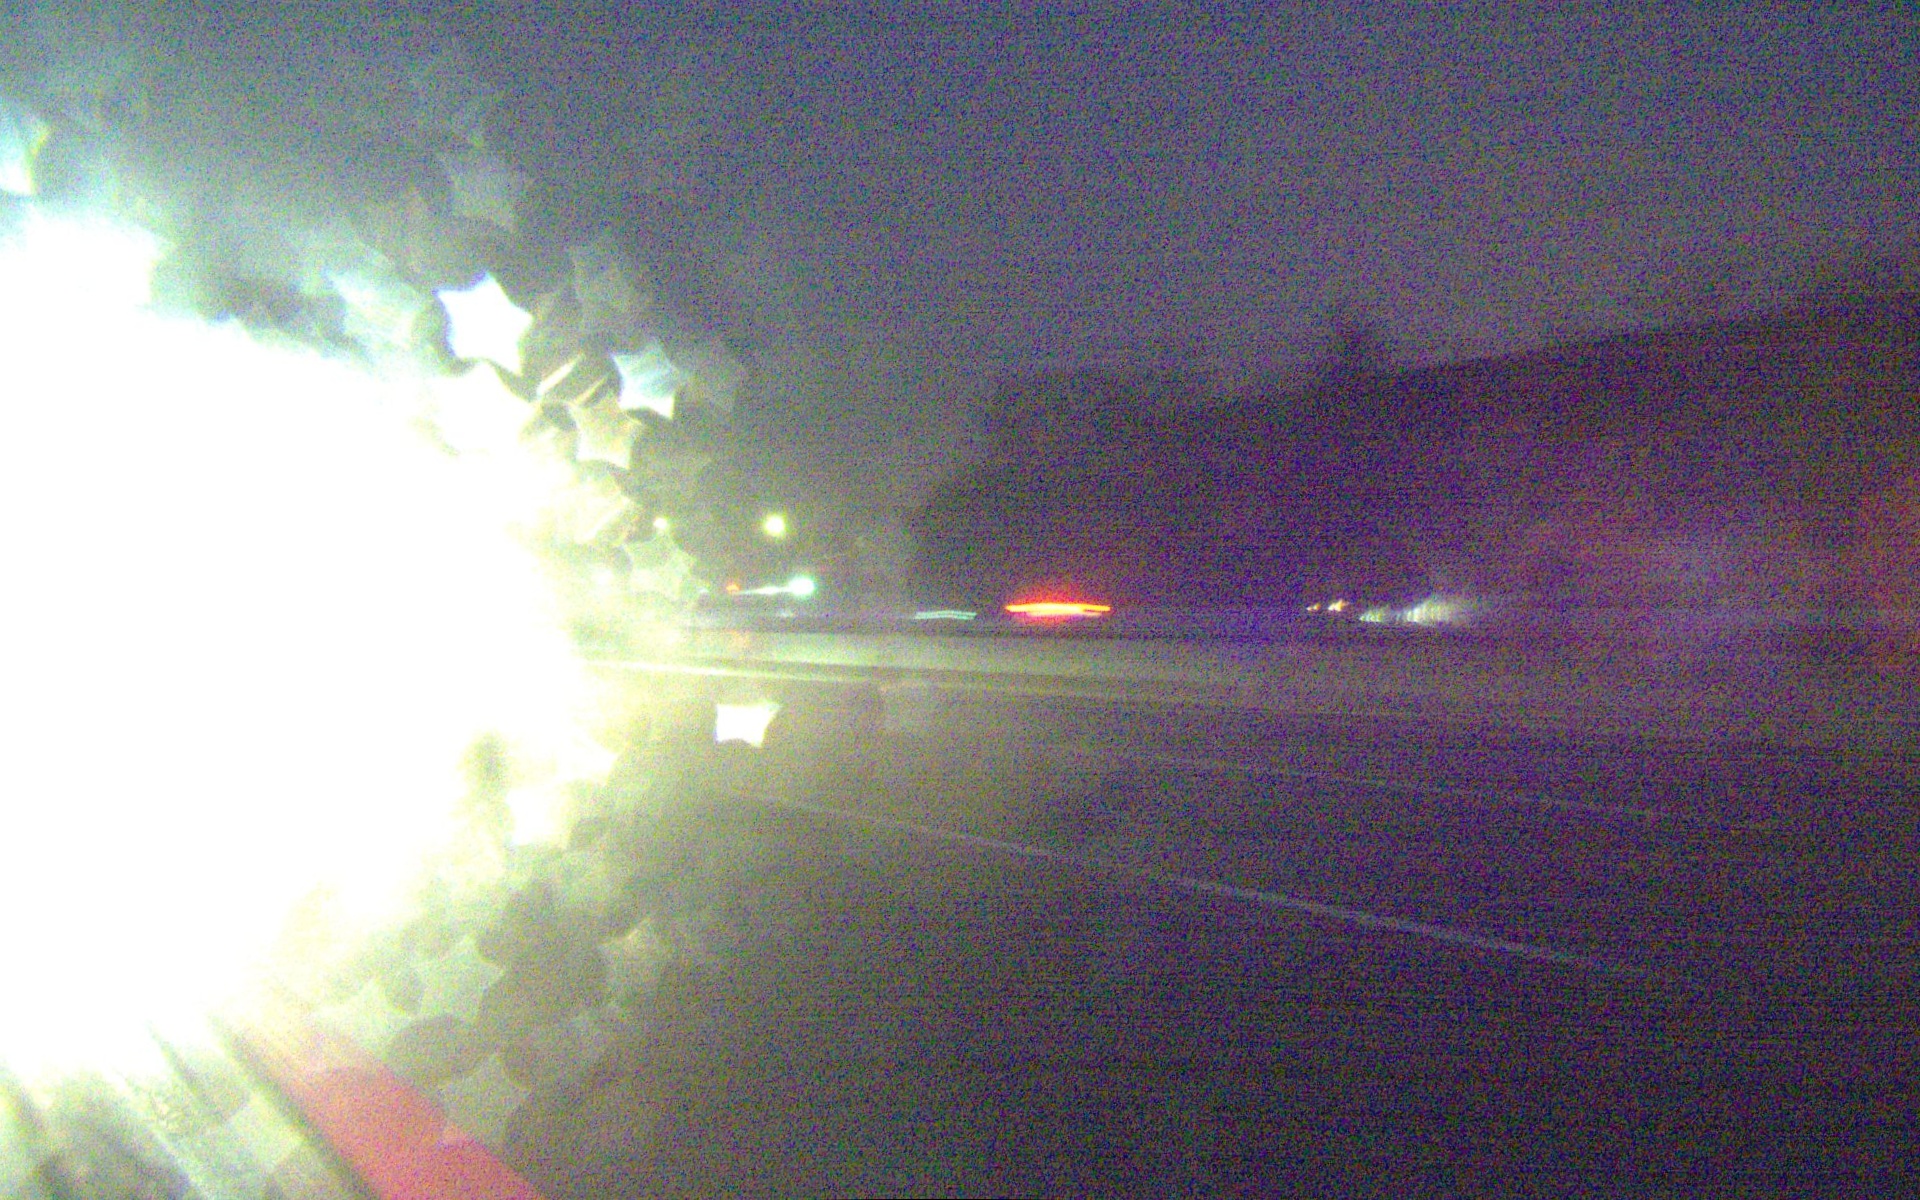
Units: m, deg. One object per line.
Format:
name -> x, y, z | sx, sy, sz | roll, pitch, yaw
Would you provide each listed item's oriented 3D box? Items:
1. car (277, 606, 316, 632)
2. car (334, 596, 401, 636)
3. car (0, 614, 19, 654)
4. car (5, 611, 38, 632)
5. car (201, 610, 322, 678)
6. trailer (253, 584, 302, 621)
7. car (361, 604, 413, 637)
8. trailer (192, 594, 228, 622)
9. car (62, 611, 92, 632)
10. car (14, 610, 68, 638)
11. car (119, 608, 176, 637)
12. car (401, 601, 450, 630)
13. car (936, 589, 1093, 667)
car -> -56.662, 1.606, 86.369 | 1.971, 2.028, 4.003 | -4, 3, -44
car -> -33.536, 0.872, 57.201 | 4.567, 2.028, 1.972 | 0, 3, 43
car -> -41.187, 1.421, 42.529 | 3.996, 1.608, 1.897 | -1, 1, 40
car -> -88.375, 1.970, 95.249 | 4.000, 1.807, 1.904 | -1, 3, 43
car -> -18.219, 1.079, 26.332 | 3.999, 1.608, 1.704 | -1, 1, 42
trailer -> -75.340, 0.218, 111.533 | 2.620, 3.758, 13.963 | -4, 3, -41
car -> -38.995, 1.348, 68.844 | 4.001, 2.028, 1.972 | 0, 3, 44
trailer -> -117.140, 1.139, 157.935 | 2.738, 4.058, 14.028 | -4, 3, -43
car -> -86.284, 2.083, 98.893 | 1.903, 1.807, 4.002 | -4, 3, -45
car -> -56.534, 1.481, 62.228 | 3.996, 1.608, 1.897 | -1, 1, 40
car -> -48.627, 1.340, 60.563 | 3.996, 1.608, 1.897 | -1, 1, 40
car -> -39.812, 1.150, 75.394 | 4.000, 1.996, 1.972 | -1, 3, 43
car -> 1.558, 0.774, 29.737 | 4.278, 2.028, 1.972 | 0, 3, 42
